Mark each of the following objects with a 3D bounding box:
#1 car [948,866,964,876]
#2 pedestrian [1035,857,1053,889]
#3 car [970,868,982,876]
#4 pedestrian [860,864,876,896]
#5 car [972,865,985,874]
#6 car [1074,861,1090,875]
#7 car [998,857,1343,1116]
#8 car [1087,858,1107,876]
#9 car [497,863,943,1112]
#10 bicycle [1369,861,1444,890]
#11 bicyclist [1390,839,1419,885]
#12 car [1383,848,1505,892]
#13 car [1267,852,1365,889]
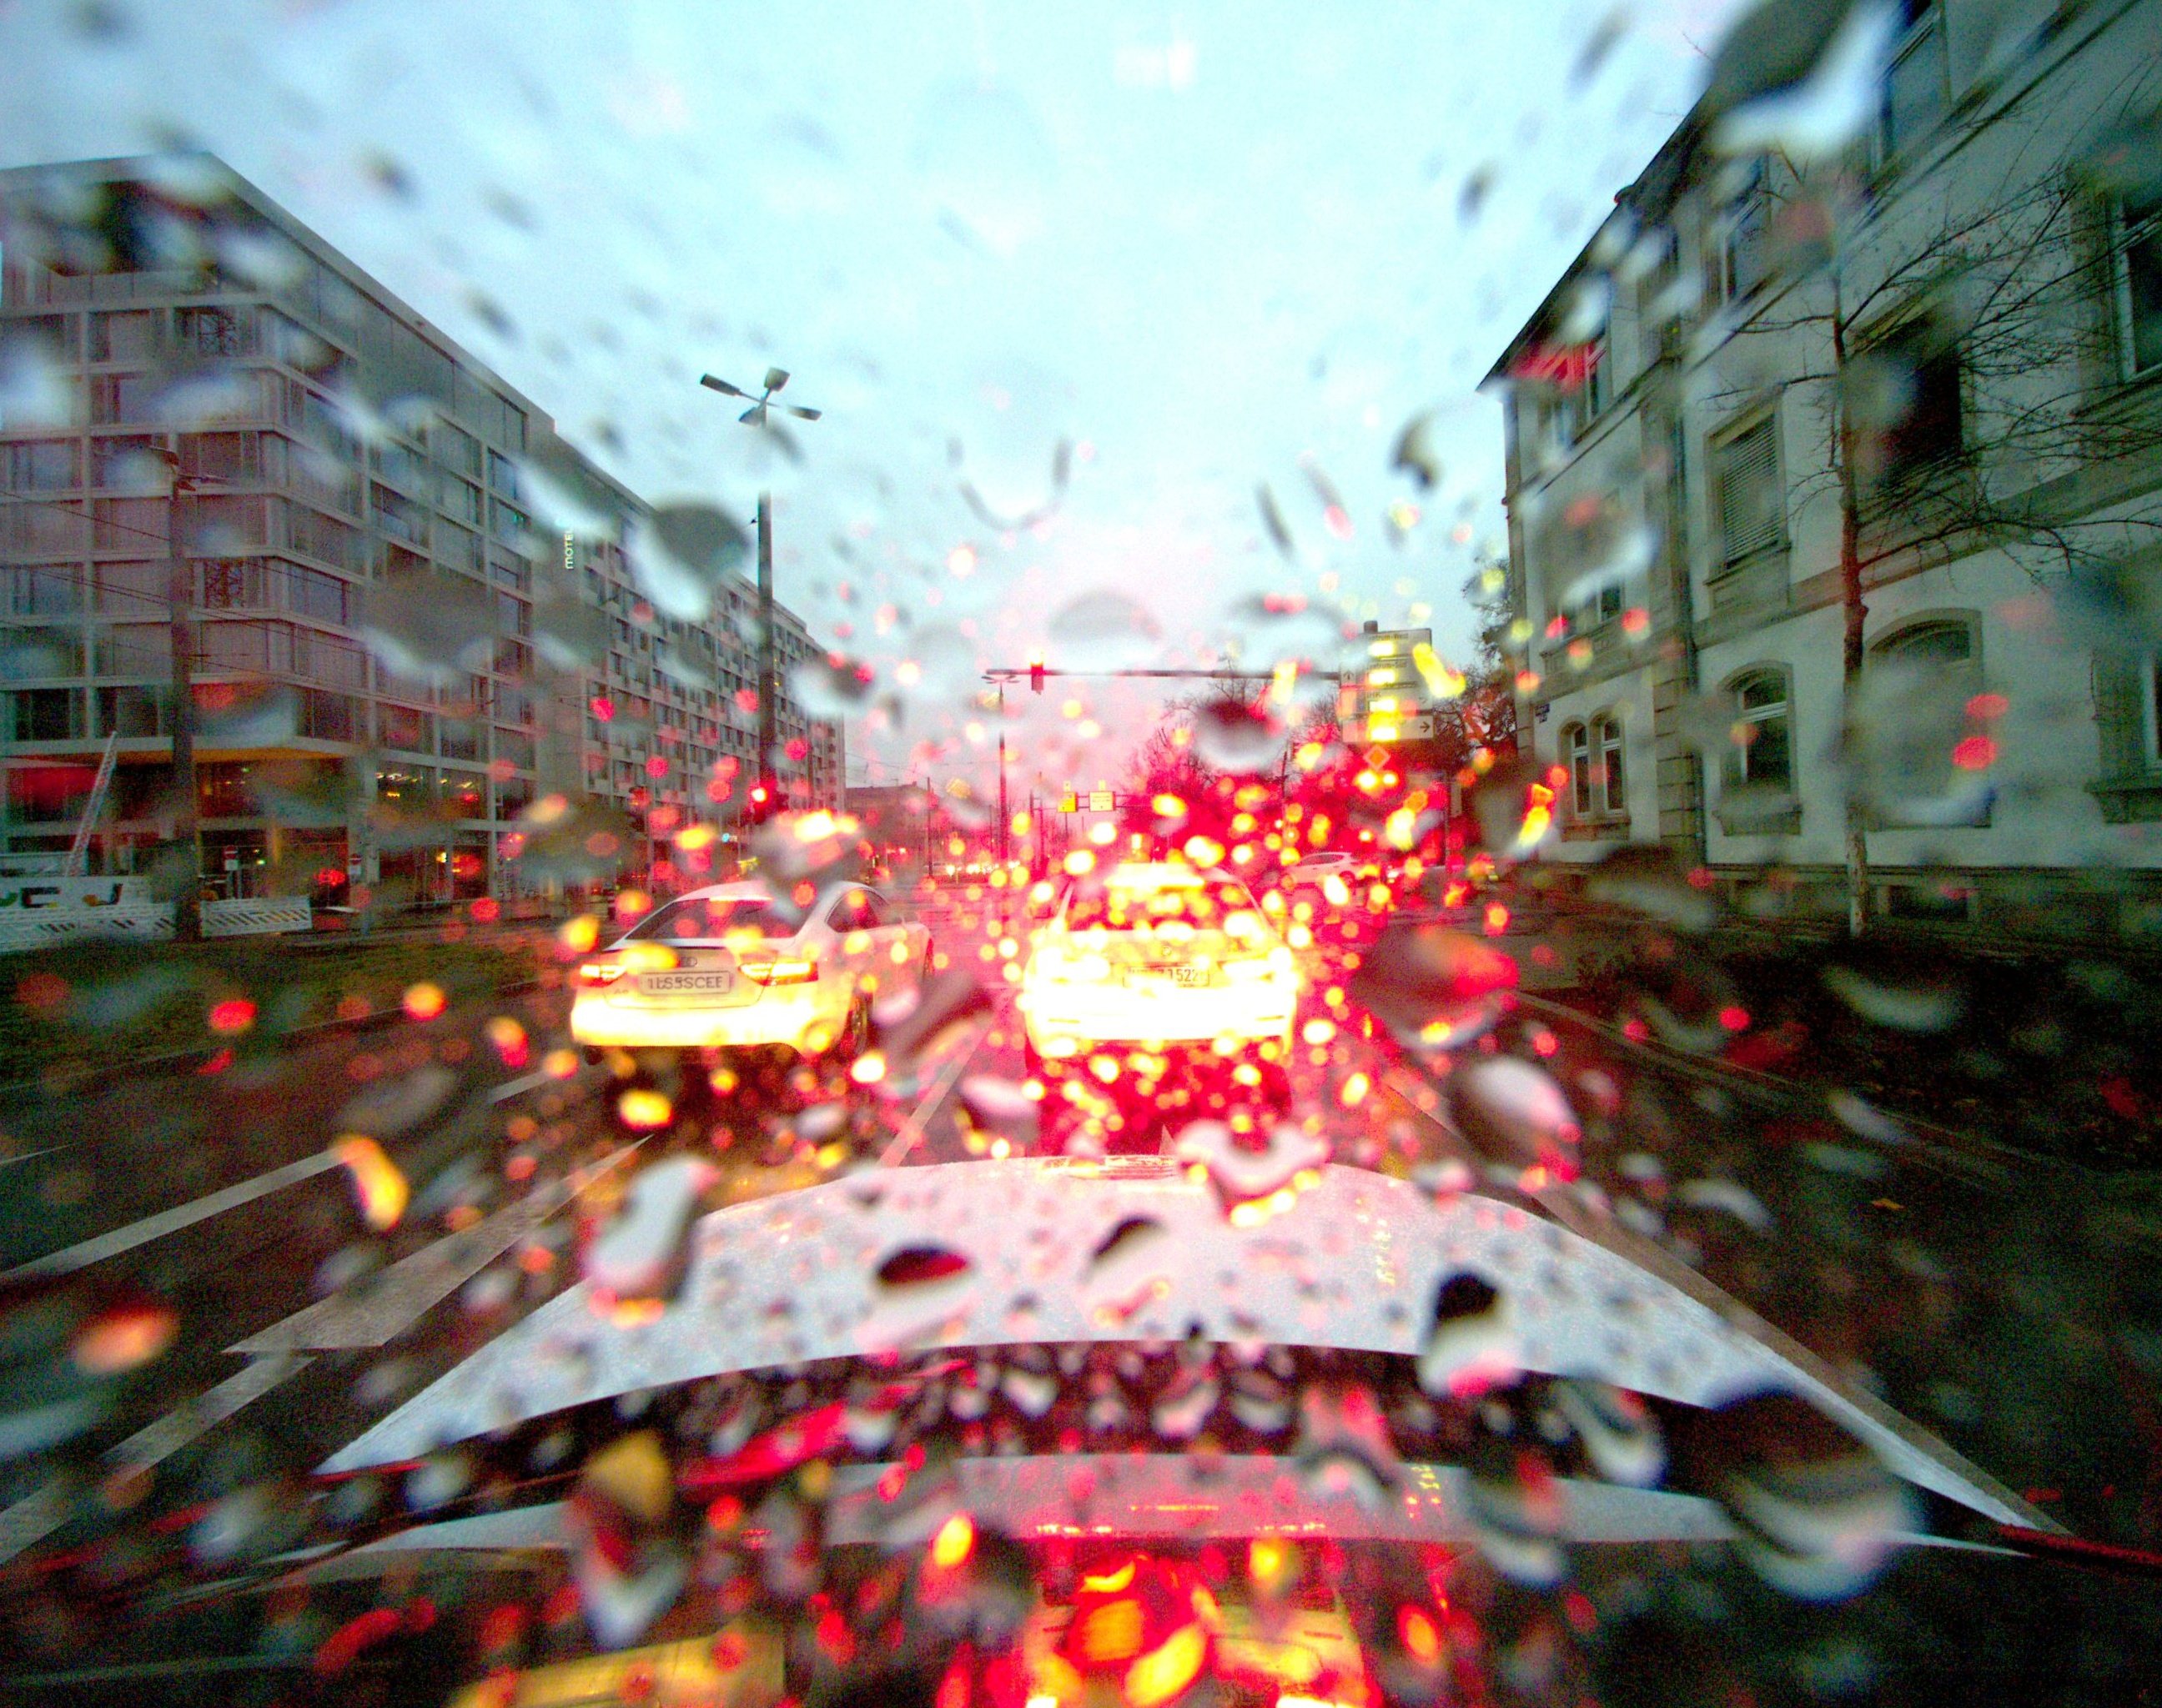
[{"bbox_3d":[-19.191,2.632,125.248,1.669,1.508,3.697,0,-1,1],"label":"car"},{"bbox_3d":[-2.121,1.089,46.744,0.903,1.856,0.809,0,-1,-11],"label":"pedestrian"},{"bbox_3d":[-20.313,3.466,157.709,1.669,1.508,3.697,0,-1,1],"label":"car"},{"bbox_3d":[-11.719,1.434,44.776,0.791,1.712,0.809,0,-1,-13],"label":"pedestrian"},{"bbox_3d":[-18.240,2.758,145.414,1.669,1.508,3.697,0,-1,1],"label":"car"},{"bbox_3d":[0.146,1.656,94.896,1.837,1.609,3.945,0,-1,1],"label":"car"},{"bbox_3d":[0.526,0.776,6.931,1.987,1.456,4.367,-1,0,0],"label":"car"},{"bbox_3d":[1.507,1.228,75.588,1.836,1.609,3.945,0,-1,1],"label":"car"},{"bbox_3d":[-2.597,0.845,7.224,1.987,1.456,4.367,-1,0,0],"label":"car"},{"bbox_3d":[12.650,0.830,31.711,2.646,1.089,0.818,0,-1,17],"label":"bicycle"},{"bbox_3d":[12.612,0.314,31.748,0.964,1.759,0.817,0,-1,17],"label":"bicyclist"},{"bbox_3d":[12.581,0.561,28.439,3.661,1.478,1.635,0,-1,14],"label":"car"},{"bbox_3d":[10.317,0.700,35.716,3.920,1.554,1.758,0,-1,22],"label":"car"}]
